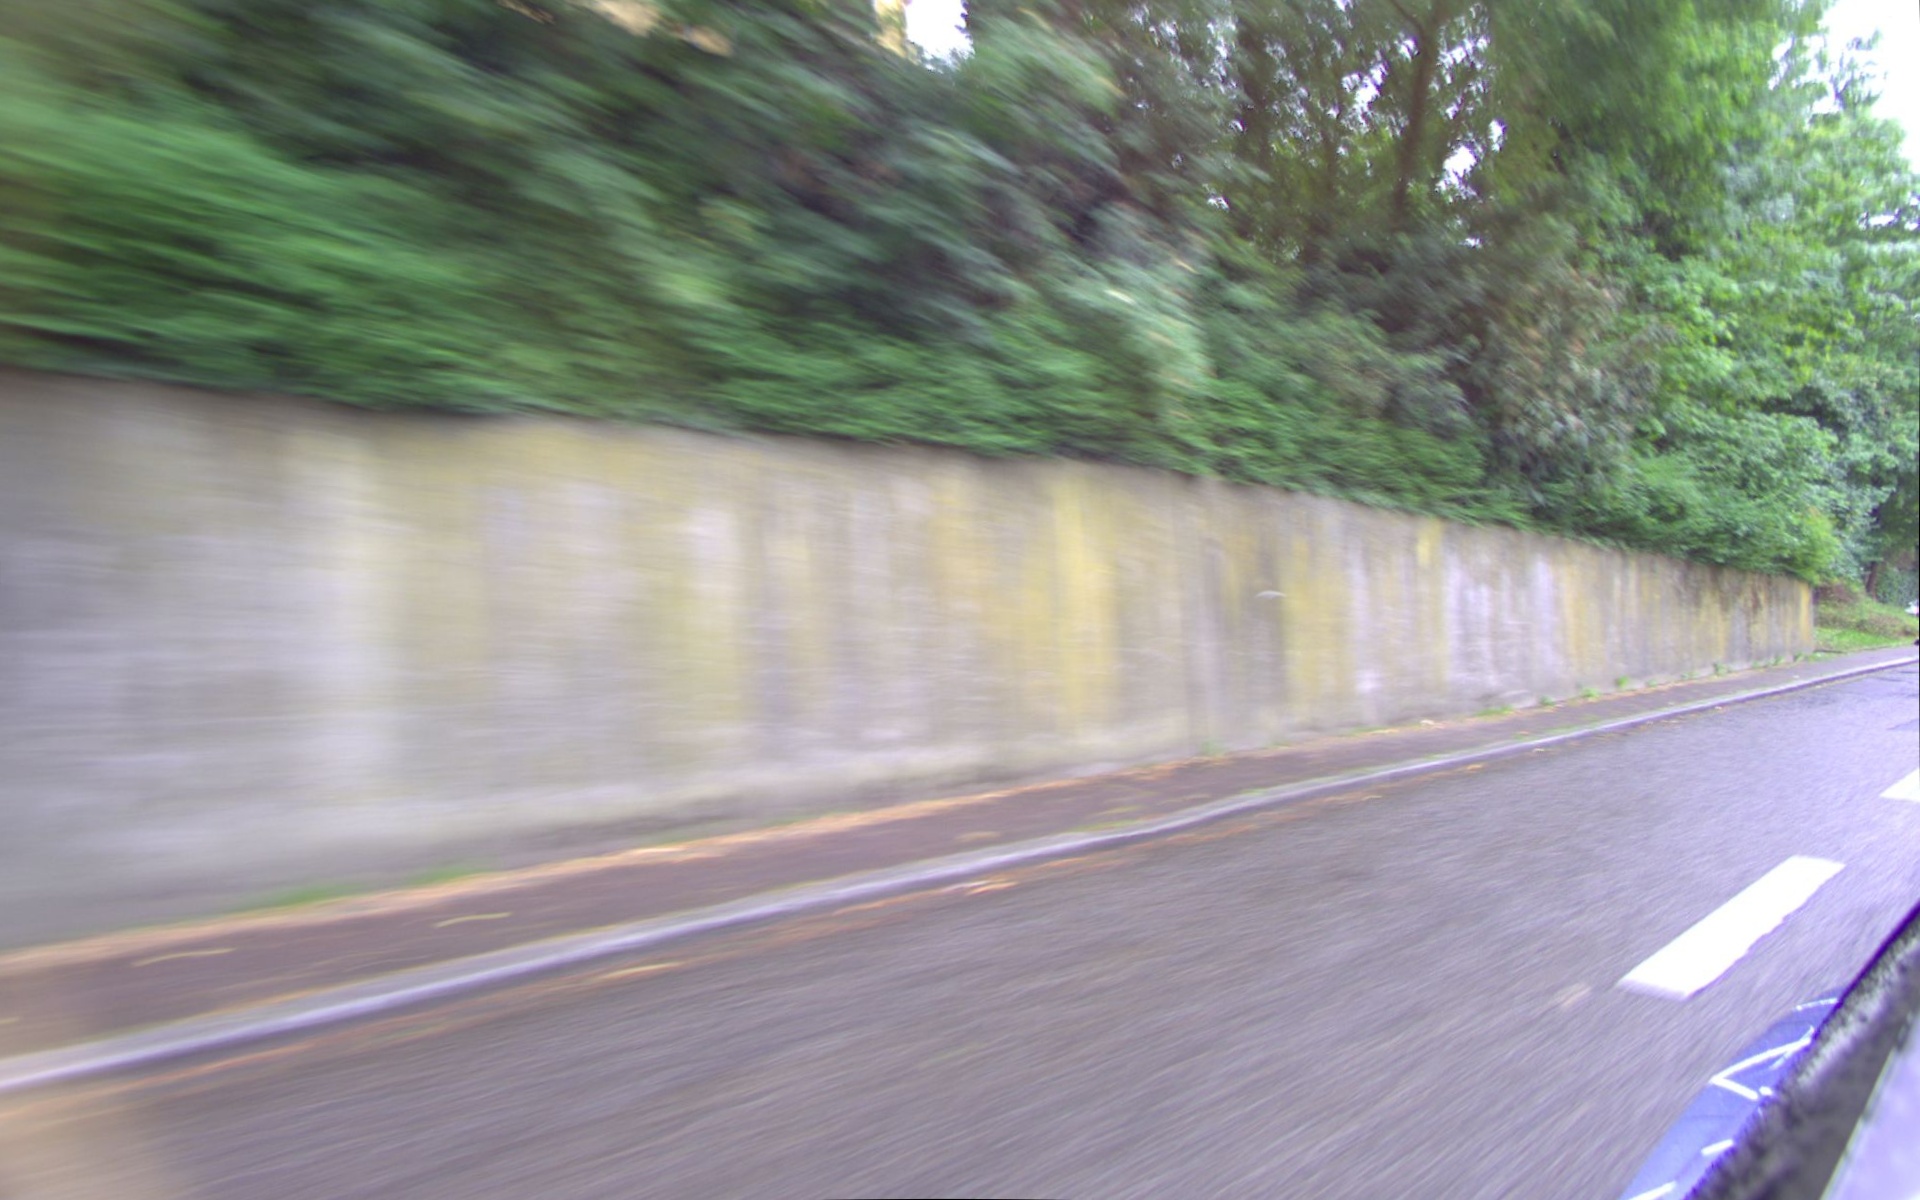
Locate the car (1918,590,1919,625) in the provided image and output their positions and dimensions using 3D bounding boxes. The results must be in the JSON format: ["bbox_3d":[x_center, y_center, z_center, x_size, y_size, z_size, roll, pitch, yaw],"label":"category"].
[{"bbox_3d":[37.496,0.224,37.803,4.652,1.496,1.744,0,3,-38],"label":"car"}]
